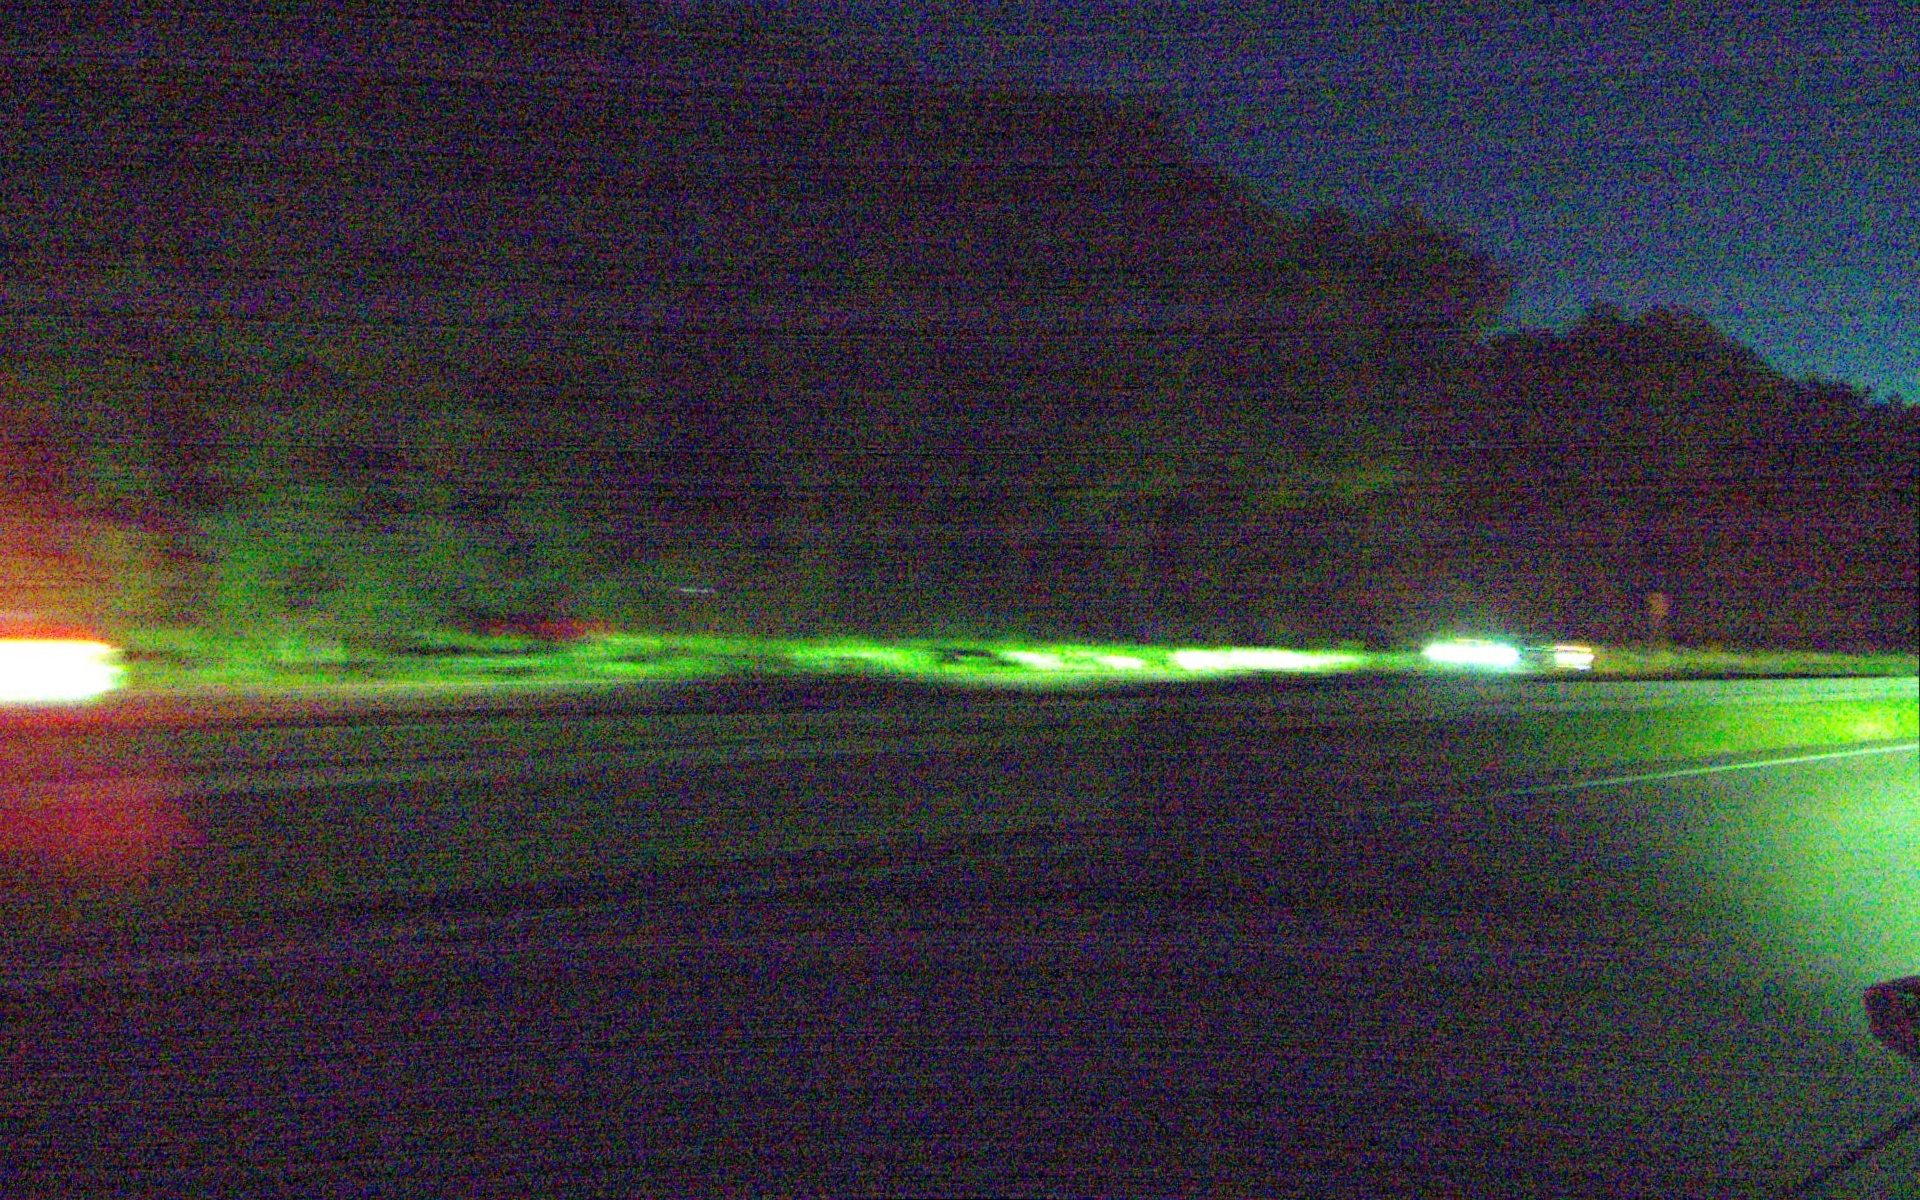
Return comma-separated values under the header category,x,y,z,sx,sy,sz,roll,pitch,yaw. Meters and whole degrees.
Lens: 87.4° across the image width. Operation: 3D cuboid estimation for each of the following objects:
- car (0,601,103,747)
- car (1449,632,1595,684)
category,x,y,z,sx,sy,sz,roll,pitch,yaw
car,-11.864,0.735,10.204,4.415,1.476,1.950,1,-2,-28
car,17.451,1.779,31.119,4.788,1.430,1.762,2,0,-30
